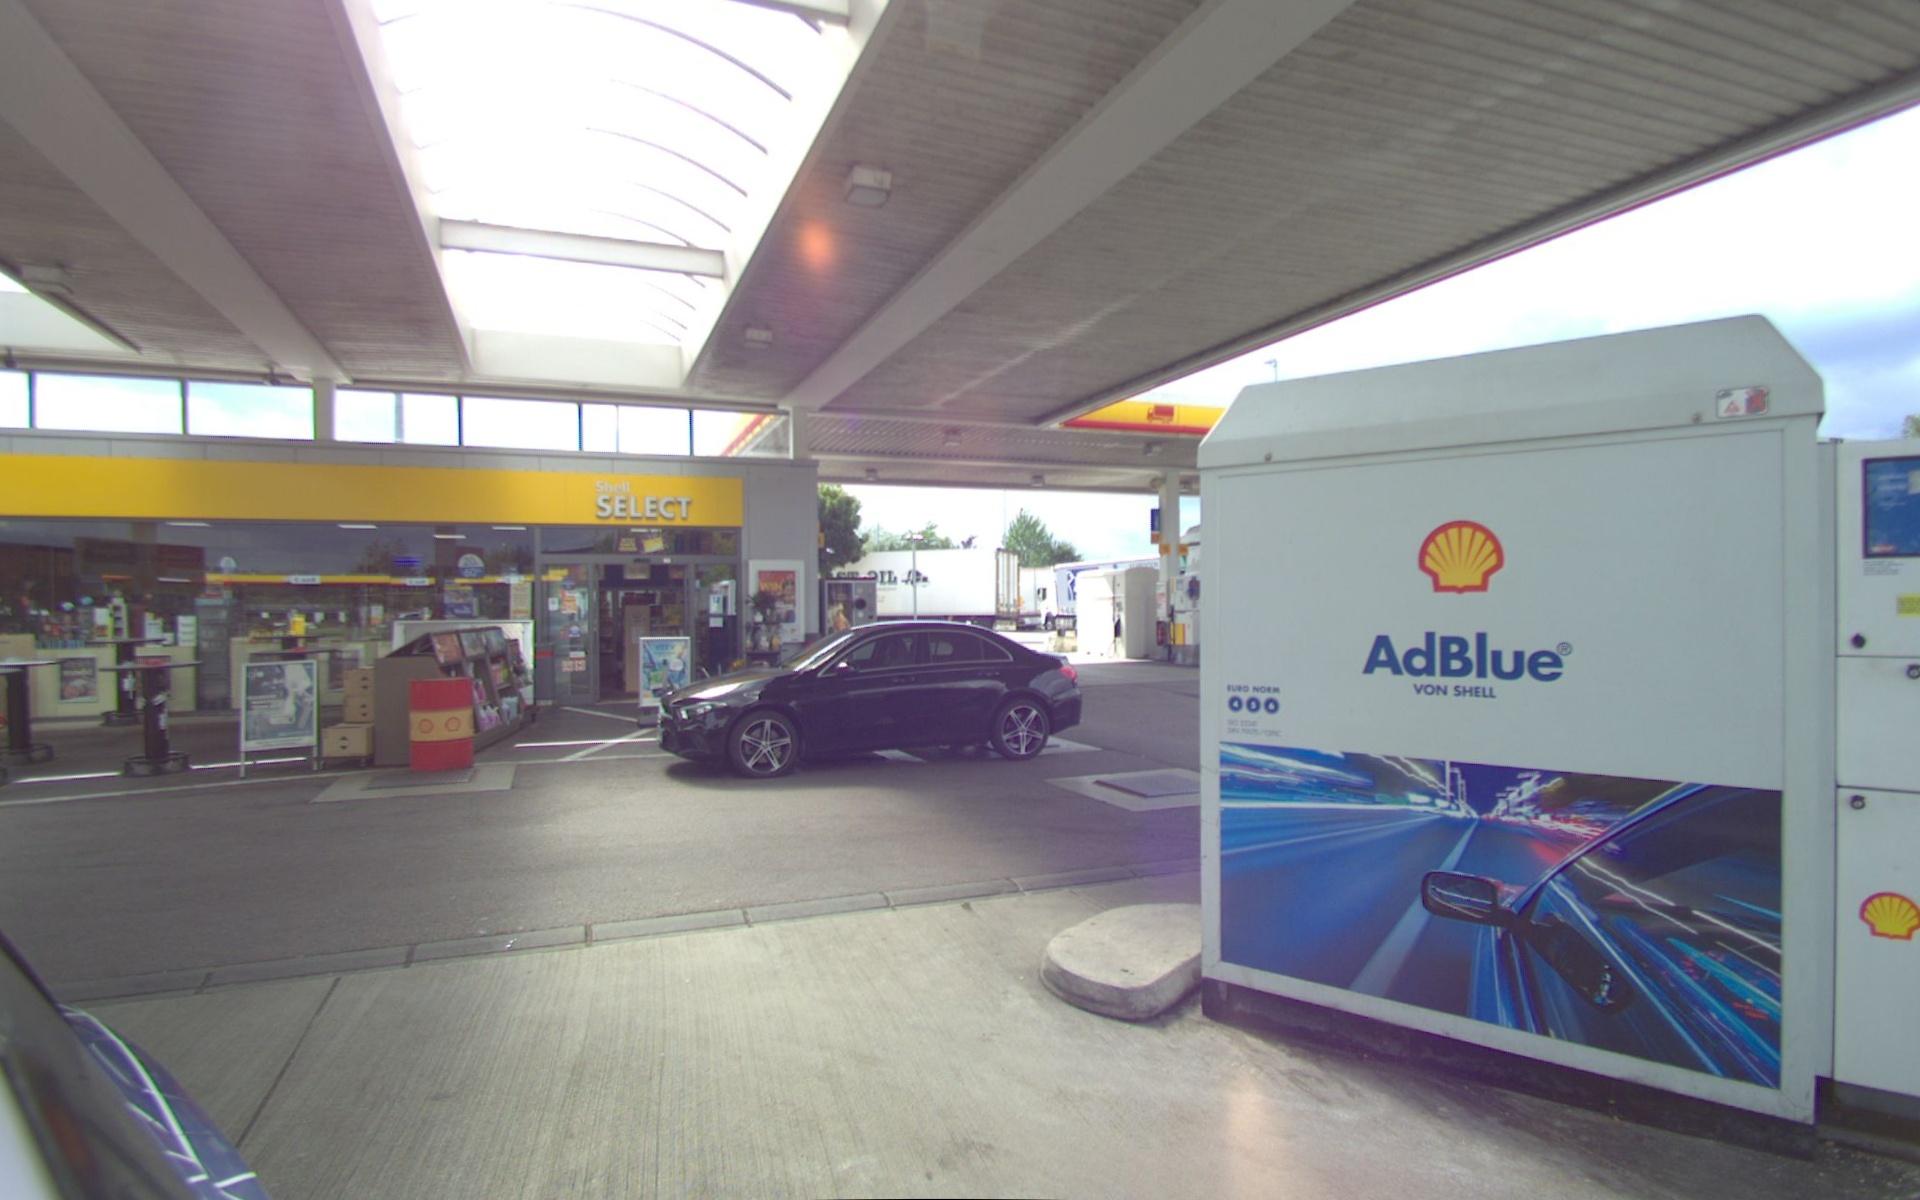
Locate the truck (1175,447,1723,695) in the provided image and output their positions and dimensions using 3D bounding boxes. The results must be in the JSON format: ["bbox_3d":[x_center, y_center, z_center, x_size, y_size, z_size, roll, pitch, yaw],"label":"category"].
[{"bbox_3d":[9.656,-0.469,23.101,2.491,4.069,12.947,-1,0,-22],"label":"truck"}]

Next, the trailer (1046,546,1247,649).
[{"bbox_3d":[9.107,-0.108,52.673,3.294,4.600,14.397,-1,0,-20],"label":"trailer"}]

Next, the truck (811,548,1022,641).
[{"bbox_3d":[-2.101,-0.188,46.840,9.536,4.036,2.772,-1,0,25],"label":"truck"}]

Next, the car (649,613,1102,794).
[{"bbox_3d":[-0.894,0.940,10.625,4.394,1.511,1.785,-1,0,-21],"label":"car"}]

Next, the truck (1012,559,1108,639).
[{"bbox_3d":[5.931,-0.059,61.221,3.333,4.538,6.249,-1,0,-20],"label":"truck"}]
